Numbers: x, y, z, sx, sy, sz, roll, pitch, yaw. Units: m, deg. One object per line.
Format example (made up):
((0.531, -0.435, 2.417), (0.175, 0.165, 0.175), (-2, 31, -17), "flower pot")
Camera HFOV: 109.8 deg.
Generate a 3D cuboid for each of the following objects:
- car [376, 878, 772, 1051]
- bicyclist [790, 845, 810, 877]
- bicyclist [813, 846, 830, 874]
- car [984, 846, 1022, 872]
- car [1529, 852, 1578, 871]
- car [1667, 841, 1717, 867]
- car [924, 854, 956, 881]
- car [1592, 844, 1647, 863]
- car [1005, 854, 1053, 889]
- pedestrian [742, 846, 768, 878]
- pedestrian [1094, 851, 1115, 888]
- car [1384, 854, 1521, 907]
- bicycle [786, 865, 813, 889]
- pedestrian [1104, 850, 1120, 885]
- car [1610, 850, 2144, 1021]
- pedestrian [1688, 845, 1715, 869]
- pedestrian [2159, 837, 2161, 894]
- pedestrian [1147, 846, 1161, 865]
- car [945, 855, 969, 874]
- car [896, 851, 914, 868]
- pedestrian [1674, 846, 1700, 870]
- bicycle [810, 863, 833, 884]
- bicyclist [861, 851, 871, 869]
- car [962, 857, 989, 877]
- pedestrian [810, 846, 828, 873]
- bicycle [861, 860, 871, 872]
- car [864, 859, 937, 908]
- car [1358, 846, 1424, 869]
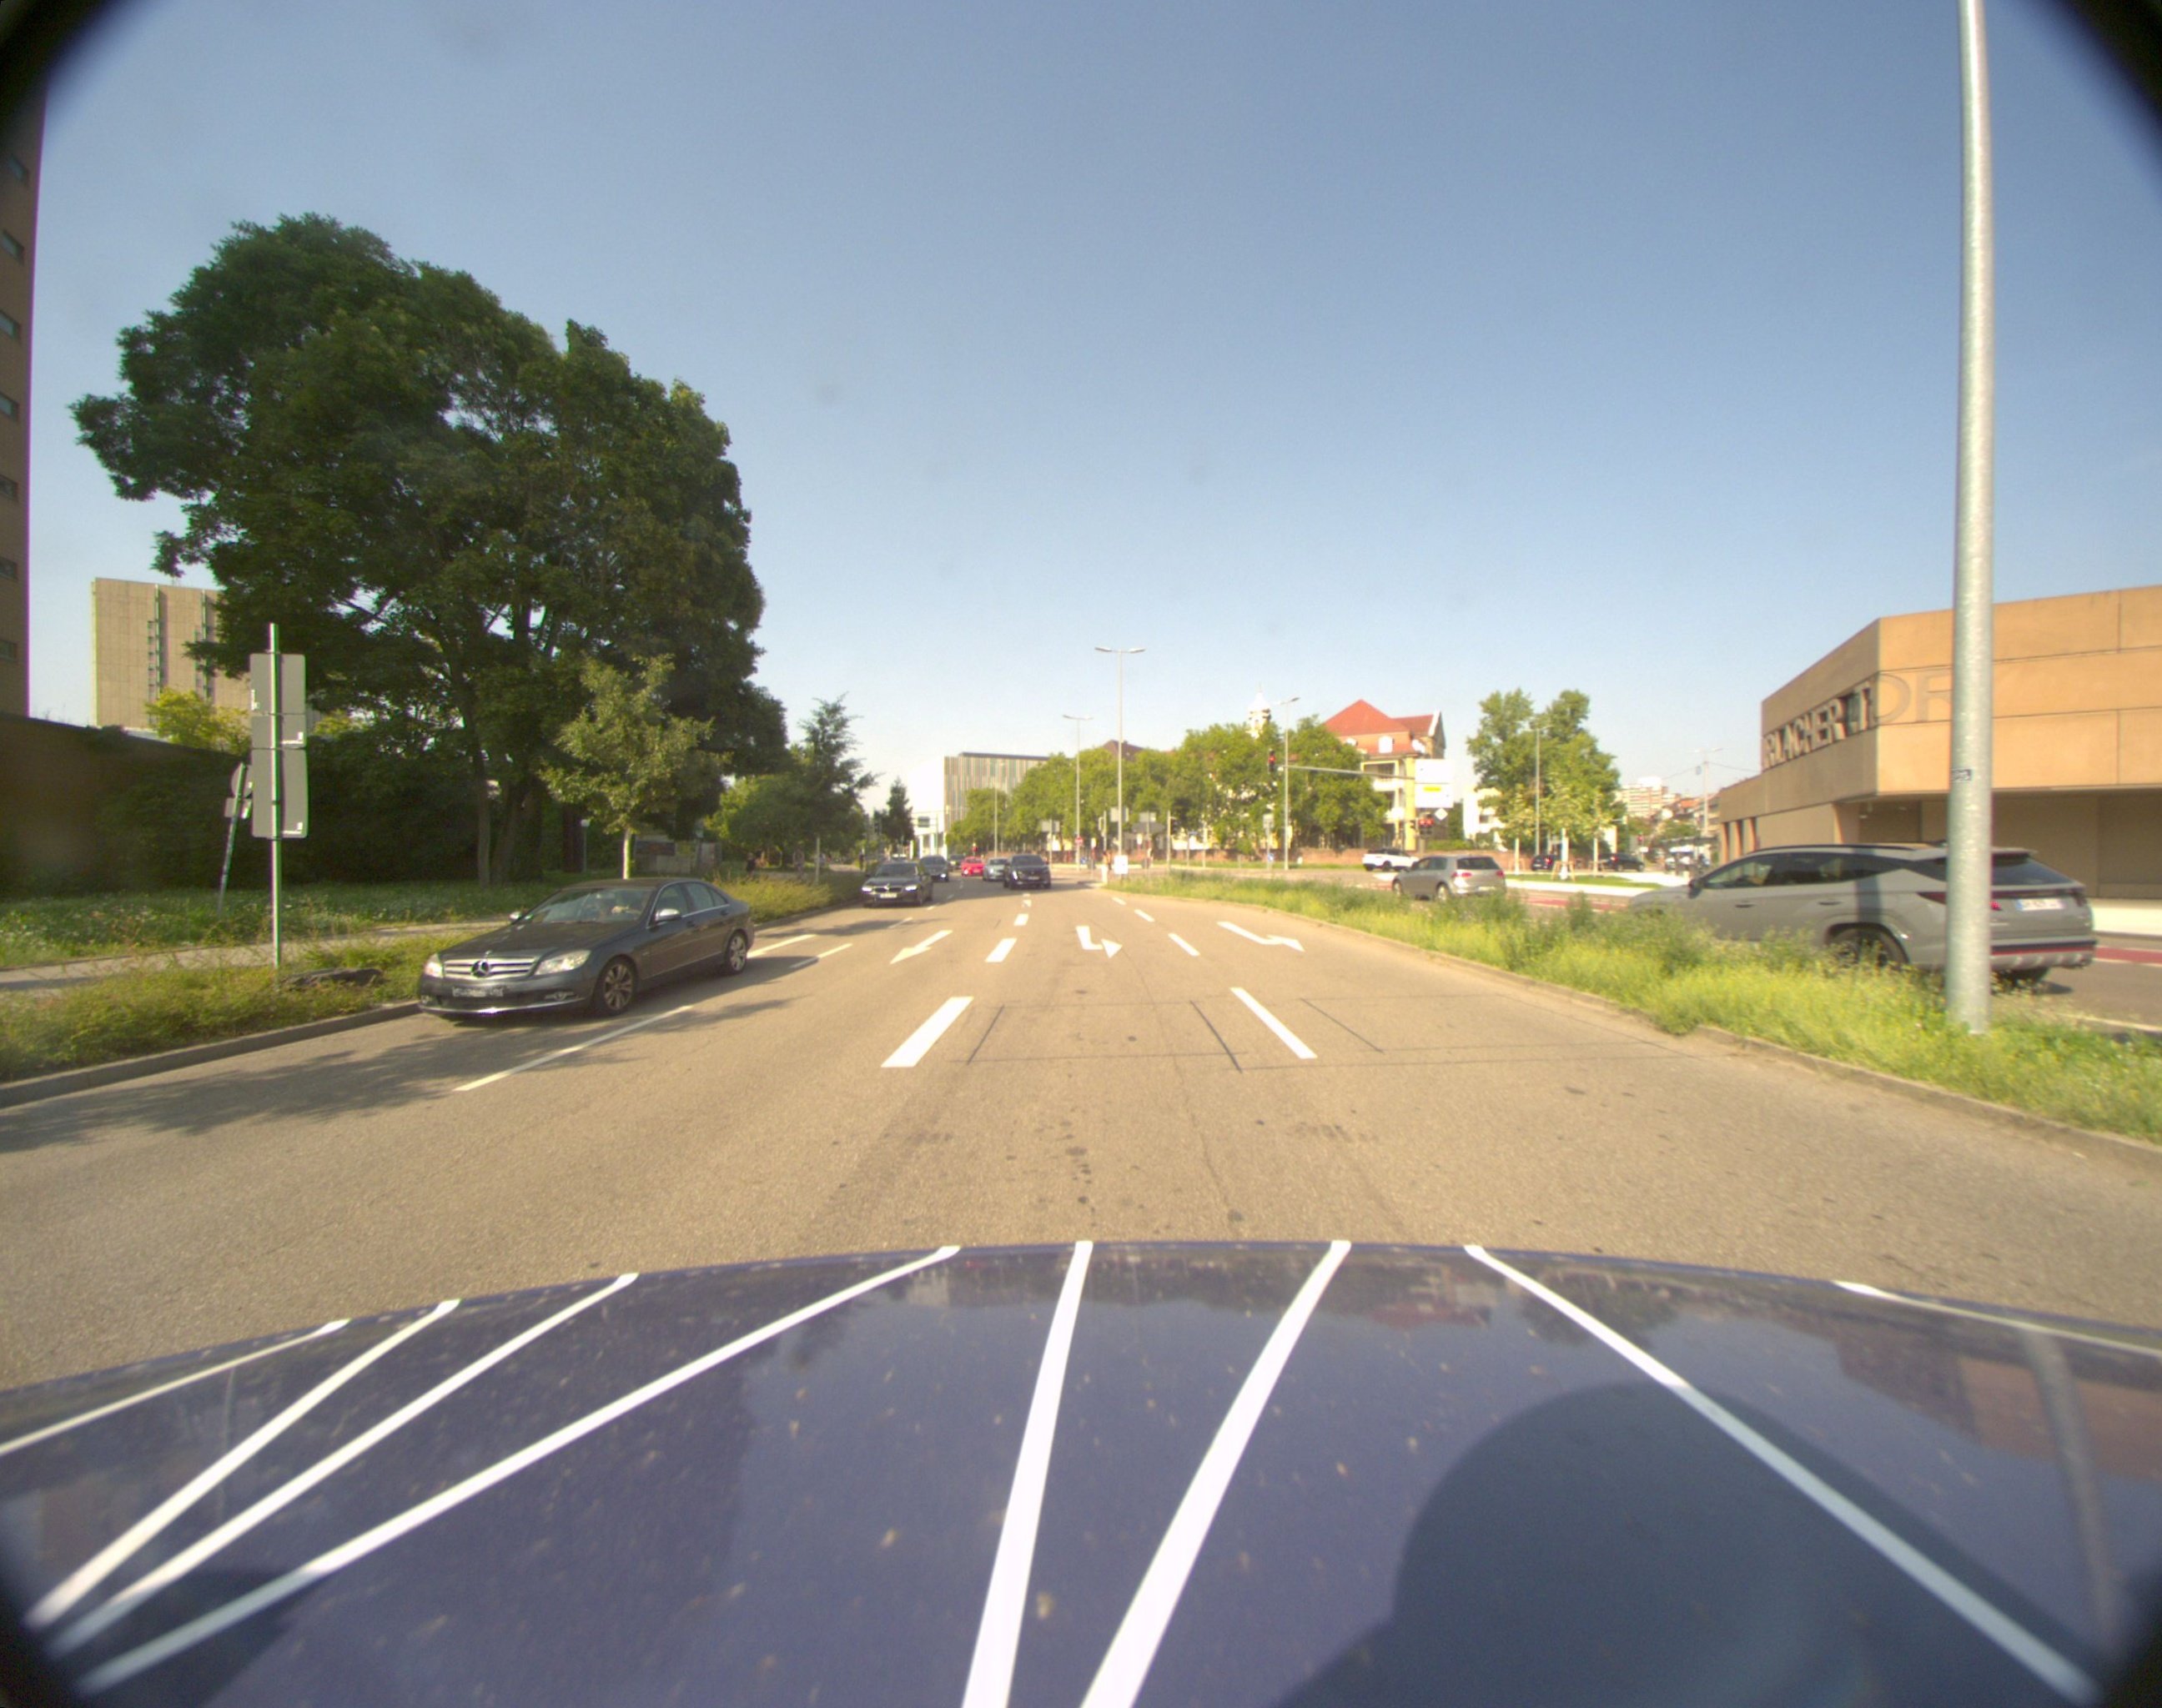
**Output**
((-5.633, 1.107, 9.274), (1.686, 1.434, 4.373), (-2, 0, 3), "car")
((-14.289, 0.363, 38.677), (0.773, 1.584, 0.923), (-1, 1, -8), "bicyclist")
((-14.659, 0.335, 42.925), (0.773, 1.583, 0.923), (0, 0, -7), "bicyclist")
((-4.820, 0.285, 46.374), (1.784, 1.474, 4.528), (0, 0, -13), "car")
((38.919, 0.631, 62.595), (3.855, 1.489, 1.622), (-1, 1, -26), "car")
((63.763, -0.001, 79.313), (5.559, 2.437, 1.996), (-3, 1, -28), "car")
((-8.913, 0.818, 47.890), (1.784, 1.597, 4.415), (0, 1, -13), "car")
((46.977, -0.015, 66.262), (4.378, 1.624, 1.996), (0, 0, -25), "car")
((-2.498, 0.779, 35.466), (1.688, 1.483, 4.367), (-1, 0, -11), "car")
((-14.618, 0.356, 34.085), (0.726, 1.435, 0.857), (0, 1, 1), "pedestrian")
((1.052, 0.679, 34.223), (0.667, 1.644, 0.780), (0, 1, 29), "pedestrian")
((11.107, 0.728, 23.105), (1.819, 1.425, 4.222), (0, 0, -5), "car")
((-14.261, 1.133, 38.544), (0.773, 1.111, 2.302), (-1, 0, -8), "bicycle")
((1.483, 0.642, 36.610), (0.669, 1.689, 0.691), (0, 1, -7), "pedestrian")
((9.205, 0.761, 9.496), (1.699, 1.608, 4.458), (0, 0, -8), "car")
((53.662, 0.267, 65.718), (1.344, 2.002, 1.210), (0, 0, -19), "pedestrian")
((32.581, 0.349, 22.332), (0.717, 1.727, 0.858), (0, 1, 30), "pedestrian")
((7.797, 0.121, 80.924), (1.080, 2.002, 1.316), (-1, 1, -16), "pedestrian")
((-11.936, 0.971, 73.021), (1.785, 1.683, 4.527), (0, 0, -15), "car")
((-21.478, 0.650, 92.561), (1.690, 1.930, 4.364), (0, 0, -20), "car")
((52.178, 0.329, 65.446), (1.344, 2.002, 1.210), (0, 0, -19), "pedestrian")
((-14.658, 1.101, 42.960), (0.773, 1.111, 2.302), (0, 0, -7), "bicycle")
((-20.177, 0.594, 71.225), (0.774, 1.666, 0.922), (-1, 1, -20), "bicyclist")
((-8.248, 0.949, 59.186), (1.689, 1.483, 4.367), (0, 0, -13), "car")
((-17.960, 0.372, 52.088), (0.961, 1.772, 1.002), (2, 0, -10), "pedestrian")
((-20.145, 1.123, 71.178), (0.774, 1.111, 2.299), (-1, 0, -20), "bicycle")
((-6.053, 0.939, 25.958), (1.687, 1.483, 4.671), (0, 0, -4), "car")
((22.588, 0.233, 55.339), (4.378, 1.624, 1.996), (0, 1, -25), "car")
